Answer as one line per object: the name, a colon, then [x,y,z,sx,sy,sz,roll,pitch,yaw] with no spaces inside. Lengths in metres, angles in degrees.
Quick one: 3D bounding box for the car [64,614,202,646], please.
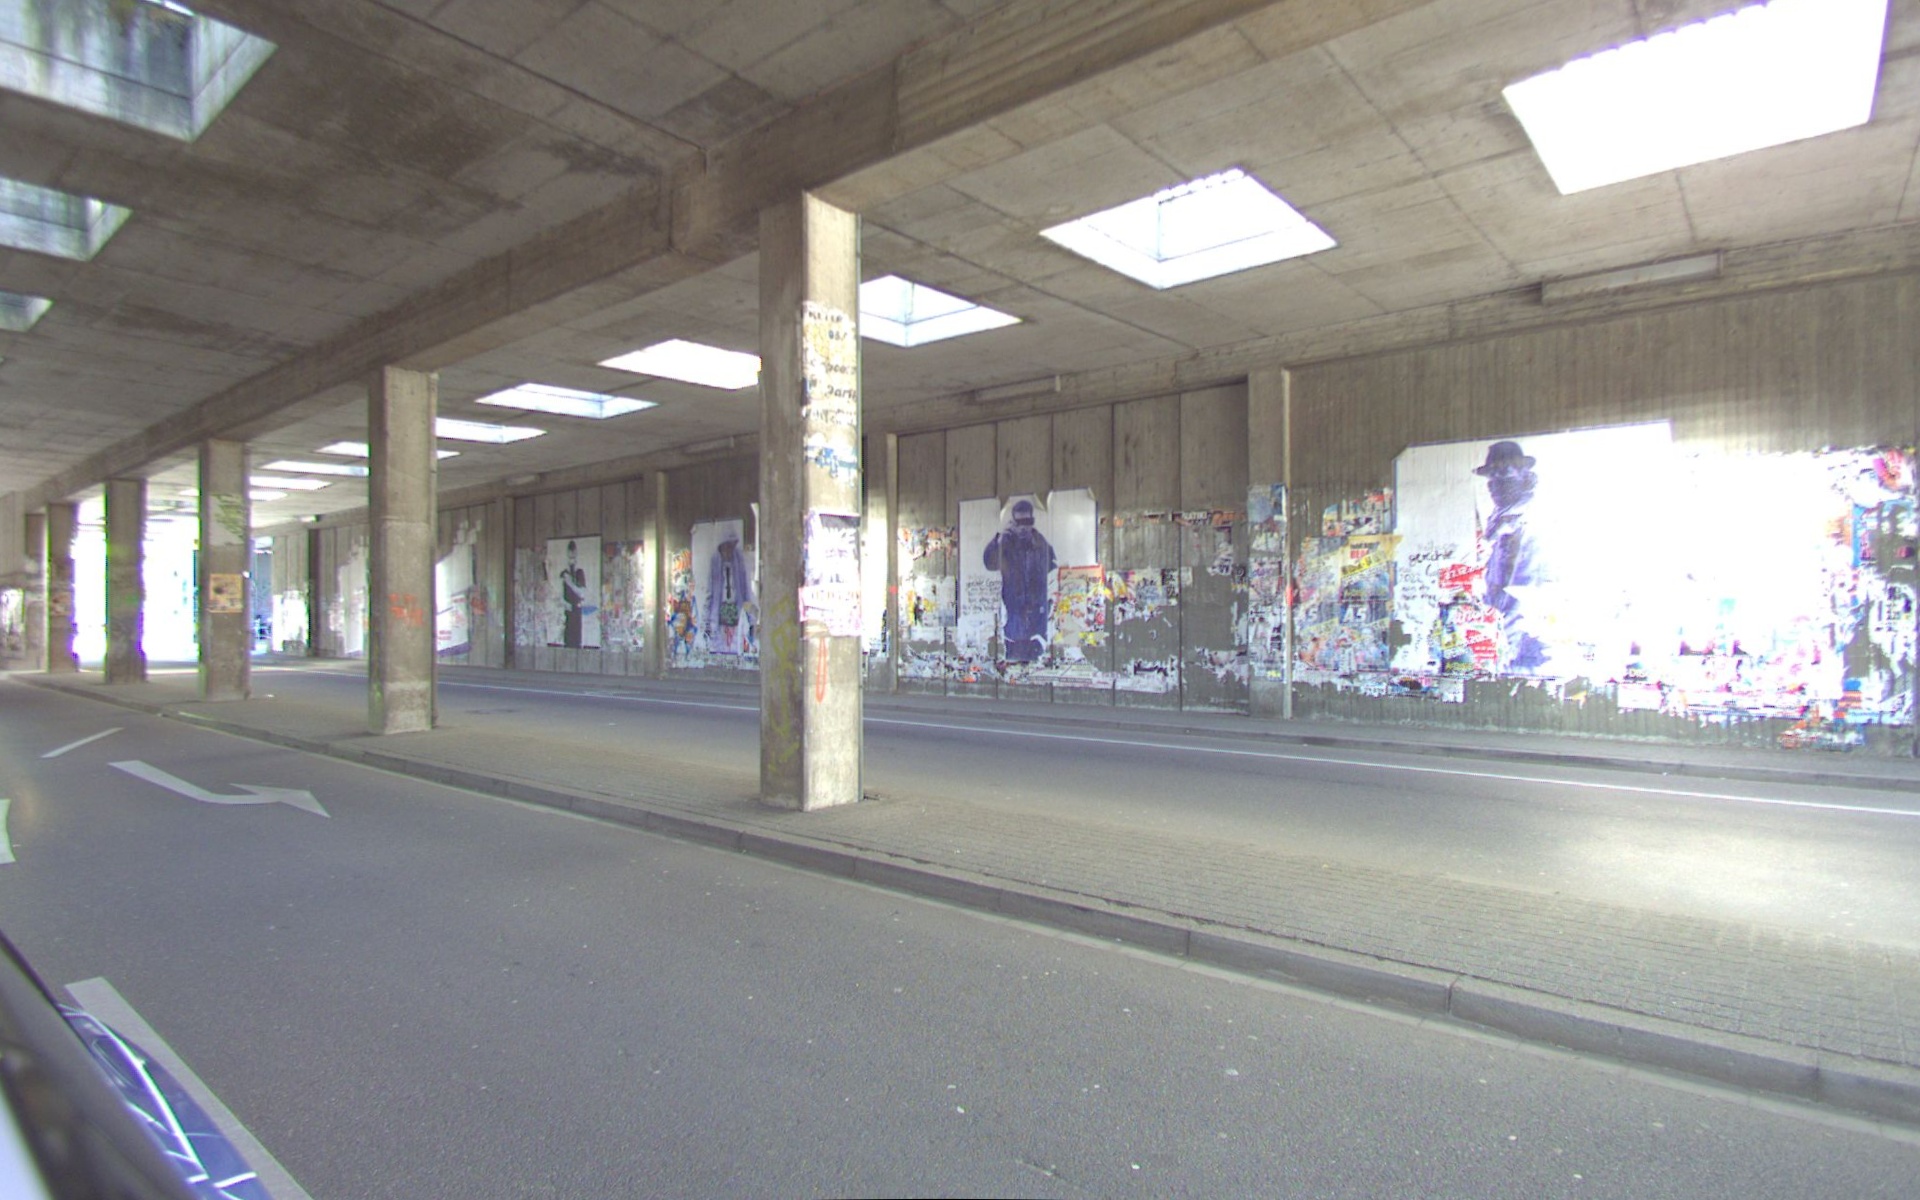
car: [-51.963,1.860,63.720,1.997,1.763,6.459,-1,0,37]
